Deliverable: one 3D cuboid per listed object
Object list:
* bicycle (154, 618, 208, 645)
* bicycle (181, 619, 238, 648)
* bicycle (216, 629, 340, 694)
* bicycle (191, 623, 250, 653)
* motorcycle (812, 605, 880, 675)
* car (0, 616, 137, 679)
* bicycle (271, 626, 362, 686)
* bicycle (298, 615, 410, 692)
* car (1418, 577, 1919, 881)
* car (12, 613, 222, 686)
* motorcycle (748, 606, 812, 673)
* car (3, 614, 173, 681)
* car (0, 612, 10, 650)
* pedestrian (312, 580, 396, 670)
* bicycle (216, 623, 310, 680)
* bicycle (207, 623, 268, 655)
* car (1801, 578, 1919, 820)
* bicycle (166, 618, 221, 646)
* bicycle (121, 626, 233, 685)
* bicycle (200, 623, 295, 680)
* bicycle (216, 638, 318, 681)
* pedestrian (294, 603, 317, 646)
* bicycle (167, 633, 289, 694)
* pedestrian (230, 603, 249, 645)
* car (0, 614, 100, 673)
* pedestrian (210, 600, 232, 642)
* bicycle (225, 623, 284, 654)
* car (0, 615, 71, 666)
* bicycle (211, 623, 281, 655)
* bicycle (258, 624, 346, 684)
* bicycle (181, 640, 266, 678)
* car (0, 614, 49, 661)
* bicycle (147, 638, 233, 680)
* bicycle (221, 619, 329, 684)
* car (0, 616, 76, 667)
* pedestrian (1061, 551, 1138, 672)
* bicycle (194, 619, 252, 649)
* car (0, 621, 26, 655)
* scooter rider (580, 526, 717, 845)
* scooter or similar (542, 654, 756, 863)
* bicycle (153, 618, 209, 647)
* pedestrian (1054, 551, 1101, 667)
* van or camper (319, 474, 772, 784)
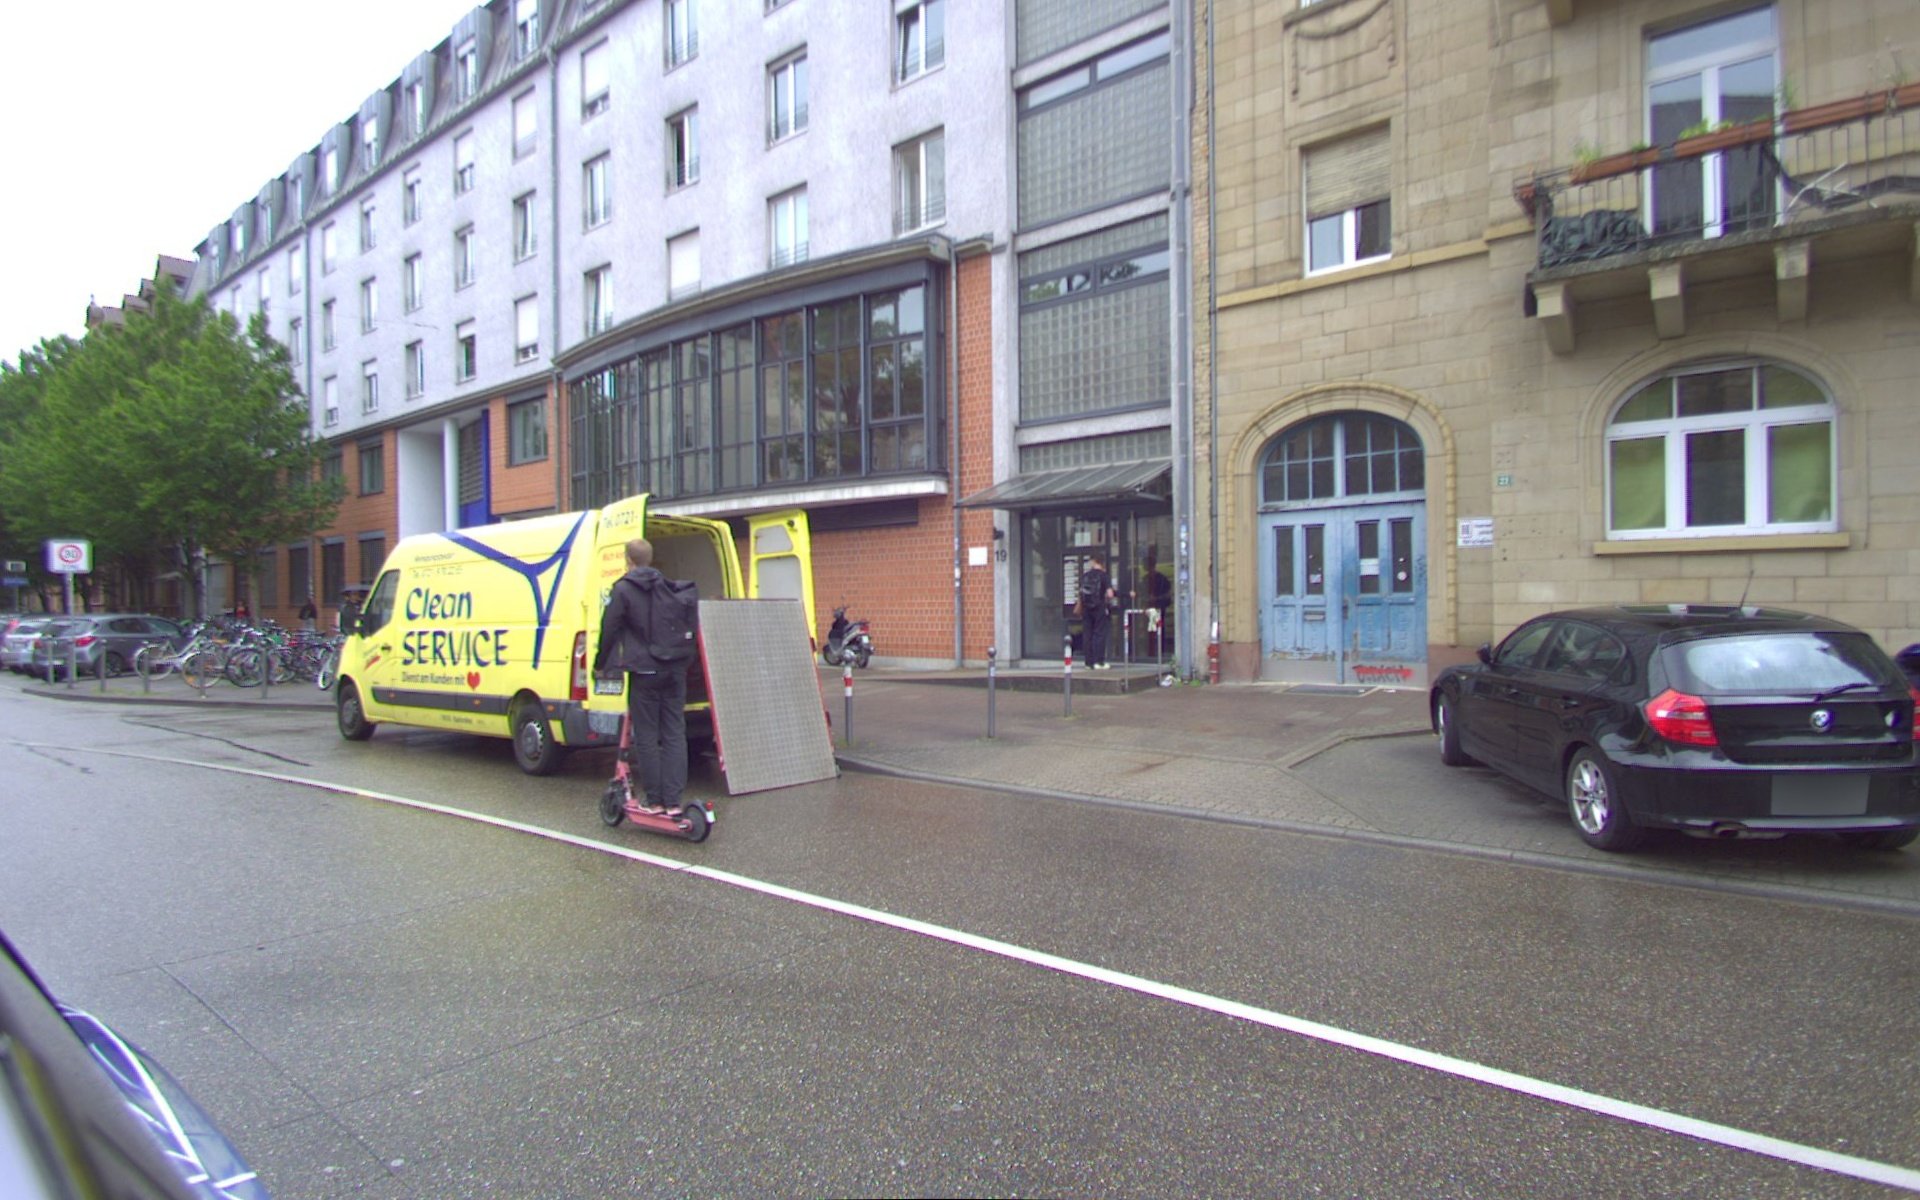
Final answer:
[{"bbox_3d":[-29.706,1.185,38.615,0.464,0.992,1.573,-1,-1,32],"label":"bicycle"},{"bbox_3d":[-26.493,1.170,35.749,0.464,0.992,1.573,-1,-1,32],"label":"bicycle"},{"bbox_3d":[-12.708,1.121,18.899,1.832,1.081,0.610,-2,1,-45],"label":"bicycle"},{"bbox_3d":[-25.198,1.276,34.511,0.444,0.992,1.573,-1,-1,32],"label":"bicycle"},{"bbox_3d":[-2.091,0.695,18.378,0.516,1.190,1.763,-1,0,-30],"label":"motorcycle"},{"bbox_3d":[-24.166,1.237,27.293,1.432,1.514,3.078,-1,0,0],"label":"car"},{"bbox_3d":[-12.590,1.070,19.827,0.418,1.072,1.442,-1,1,44],"label":"bicycle"},{"bbox_3d":[-11.130,0.952,18.671,0.760,1.225,1.917,0,2,5],"label":"bicycle"},{"bbox_3d":[4.821,0.673,7.105,1.777,1.523,4.034,0,-1,7],"label":"car"},{"bbox_3d":[-19.768,1.100,23.931,1.720,1.514,3.614,0,0,9],"label":"car"},{"bbox_3d":[-3.444,0.728,19.238,0.516,1.190,2.010,-1,0,-30],"label":"motorcycle"},{"bbox_3d":[-22.067,1.160,25.740,1.436,1.514,3.070,-1,0,9],"label":"car"},{"bbox_3d":[-48.628,1.508,48.778,1.666,1.910,4.330,0,-1,-1],"label":"car"},{"bbox_3d":[-13.614,0.544,22.748,1.054,1.894,1.213,-1,3,40],"label":"pedestrian"},{"bbox_3d":[-14.853,1.074,21.609,0.517,1.114,1.596,-1,1,27],"label":"bicycle"},{"bbox_3d":[-23.741,1.272,33.270,0.444,0.992,1.573,-1,-1,32],"label":"bicycle"},{"bbox_3d":[6.998,0.632,5.652,1.780,1.585,4.029,-1,-1,11],"label":"car"},{"bbox_3d":[-28.751,1.186,37.989,0.464,0.992,1.573,-1,-1,32],"label":"bicycle"},{"bbox_3d":[-16.508,1.154,21.367,0.472,1.114,1.791,-1,1,35],"label":"bicycle"},{"bbox_3d":[-15.425,1.095,21.934,0.519,1.114,1.591,-1,1,35],"label":"bicycle"},{"bbox_3d":[-14.417,1.228,21.100,0.455,0.767,1.757,-1,1,27],"label":"bicycle"},{"bbox_3d":[-23.720,0.872,36.683,0.547,1.541,0.509,-1,-2,37],"label":"pedestrian"},{"bbox_3d":[-13.710,1.166,19.004,0.519,1.000,1.778,-1,1,38],"label":"bicycle"},{"bbox_3d":[-28.070,0.948,39.442,0.425,1.622,0.508,-1,-1,41],"label":"pedestrian"},{"bbox_3d":[-26.583,1.210,28.898,1.432,1.564,3.078,-1,0,0],"label":"car"},{"bbox_3d":[-28.736,0.815,39.358,0.372,1.622,0.598,-1,-1,39],"label":"pedestrian"},{"bbox_3d":[-23.758,1.282,34.097,0.444,0.992,1.573,-1,-1,32],"label":"bicycle"},{"bbox_3d":[-30.861,1.309,32.724,1.358,1.567,2.971,-1,0,11],"label":"car"},{"bbox_3d":[-23.300,1.271,33.059,0.444,0.992,1.831,-1,-1,32],"label":"bicycle"},{"bbox_3d":[-13.194,1.061,20.311,1.439,1.111,0.462,-2,1,-36],"label":"bicycle"},{"bbox_3d":[-16.269,1.300,22.380,0.497,0.727,1.454,-1,1,43],"label":"bicycle"},{"bbox_3d":[-32.971,1.298,34.497,1.138,1.567,2.672,-1,0,11],"label":"car"},{"bbox_3d":[-17.047,1.303,22.428,0.497,0.811,1.454,-1,1,43],"label":"bicycle"},{"bbox_3d":[-13.982,1.021,20.708,0.517,1.203,1.798,-1,1,27],"label":"bicycle"},{"bbox_3d":[-28.991,1.275,31.247,1.177,1.461,2.502,-1,0,0],"label":"car"},{"bbox_3d":[2.090,0.170,15.118,0.785,1.741,0.997,-1,-1,31],"label":"pedestrian"},{"bbox_3d":[-25.536,1.167,35.079,0.444,0.992,1.573,-1,-1,32],"label":"bicycle"},{"bbox_3d":[-43.414,1.664,44.490,1.662,1.502,3.798,0,-1,-10],"label":"car"},{"bbox_3d":[-2.034,0.527,6.631,0.503,1.950,0.704,-1,-2,38],"label":"scooter rider"},{"bbox_3d":[-2.056,0.967,6.643,1.383,1.174,0.694,-1,-1,39],"label":"scooter or similar"},{"bbox_3d":[-28.443,1.177,36.963,0.464,0.992,1.573,-1,-1,32],"label":"bicycle"},{"bbox_3d":[1.827,0.146,15.795,0.467,1.761,0.608,0,-2,-24],"label":"pedestrian"},{"bbox_3d":[-4.872,0.304,11.338,5.937,2.631,2.174,-1,-2,40],"label":"van or camper"}]
